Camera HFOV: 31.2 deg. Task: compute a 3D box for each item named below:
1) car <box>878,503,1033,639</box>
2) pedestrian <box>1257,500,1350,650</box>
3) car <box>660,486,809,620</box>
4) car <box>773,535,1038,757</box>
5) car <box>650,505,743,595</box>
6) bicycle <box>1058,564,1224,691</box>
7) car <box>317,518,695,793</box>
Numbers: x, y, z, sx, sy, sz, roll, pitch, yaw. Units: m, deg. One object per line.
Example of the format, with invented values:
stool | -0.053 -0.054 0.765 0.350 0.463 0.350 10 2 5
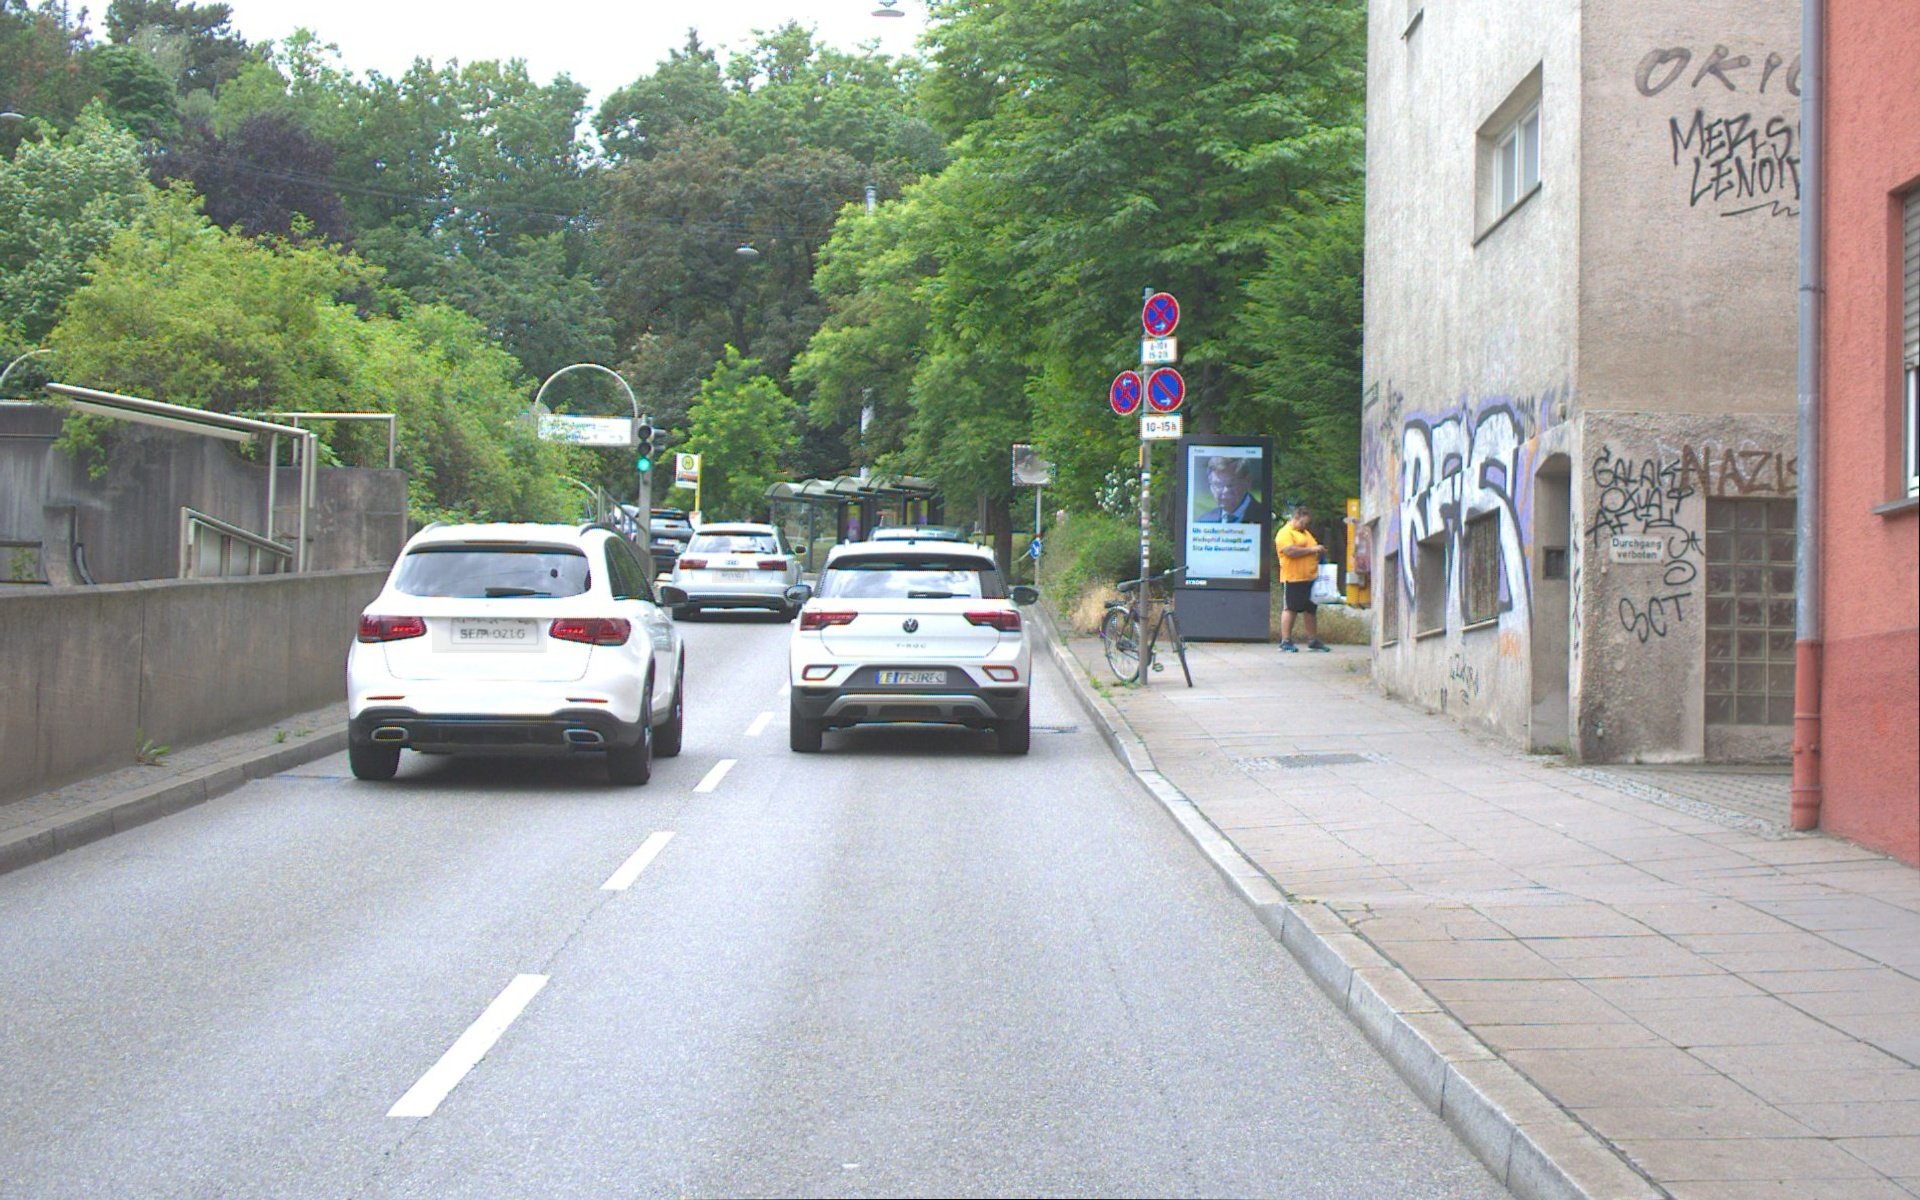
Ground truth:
car | -0.060 -0.384 44.078 1.861 1.626 3.959 1 1 0
pedestrian | 3.950 -0.292 39.529 0.832 1.706 0.822 0 1 -14
car | -3.380 -0.722 52.249 1.993 1.875 4.000 2 1 -1
car | -0.360 0.294 26.285 1.865 1.551 3.894 1 1 1
car | -5.859 -1.132 76.889 1.749 1.875 4.000 2 1 -1
bicycle | 1.680 0.247 32.347 0.638 1.139 2.066 1 0 -25
car | -2.886 0.299 22.759 1.877 1.646 4.341 0 1 1
